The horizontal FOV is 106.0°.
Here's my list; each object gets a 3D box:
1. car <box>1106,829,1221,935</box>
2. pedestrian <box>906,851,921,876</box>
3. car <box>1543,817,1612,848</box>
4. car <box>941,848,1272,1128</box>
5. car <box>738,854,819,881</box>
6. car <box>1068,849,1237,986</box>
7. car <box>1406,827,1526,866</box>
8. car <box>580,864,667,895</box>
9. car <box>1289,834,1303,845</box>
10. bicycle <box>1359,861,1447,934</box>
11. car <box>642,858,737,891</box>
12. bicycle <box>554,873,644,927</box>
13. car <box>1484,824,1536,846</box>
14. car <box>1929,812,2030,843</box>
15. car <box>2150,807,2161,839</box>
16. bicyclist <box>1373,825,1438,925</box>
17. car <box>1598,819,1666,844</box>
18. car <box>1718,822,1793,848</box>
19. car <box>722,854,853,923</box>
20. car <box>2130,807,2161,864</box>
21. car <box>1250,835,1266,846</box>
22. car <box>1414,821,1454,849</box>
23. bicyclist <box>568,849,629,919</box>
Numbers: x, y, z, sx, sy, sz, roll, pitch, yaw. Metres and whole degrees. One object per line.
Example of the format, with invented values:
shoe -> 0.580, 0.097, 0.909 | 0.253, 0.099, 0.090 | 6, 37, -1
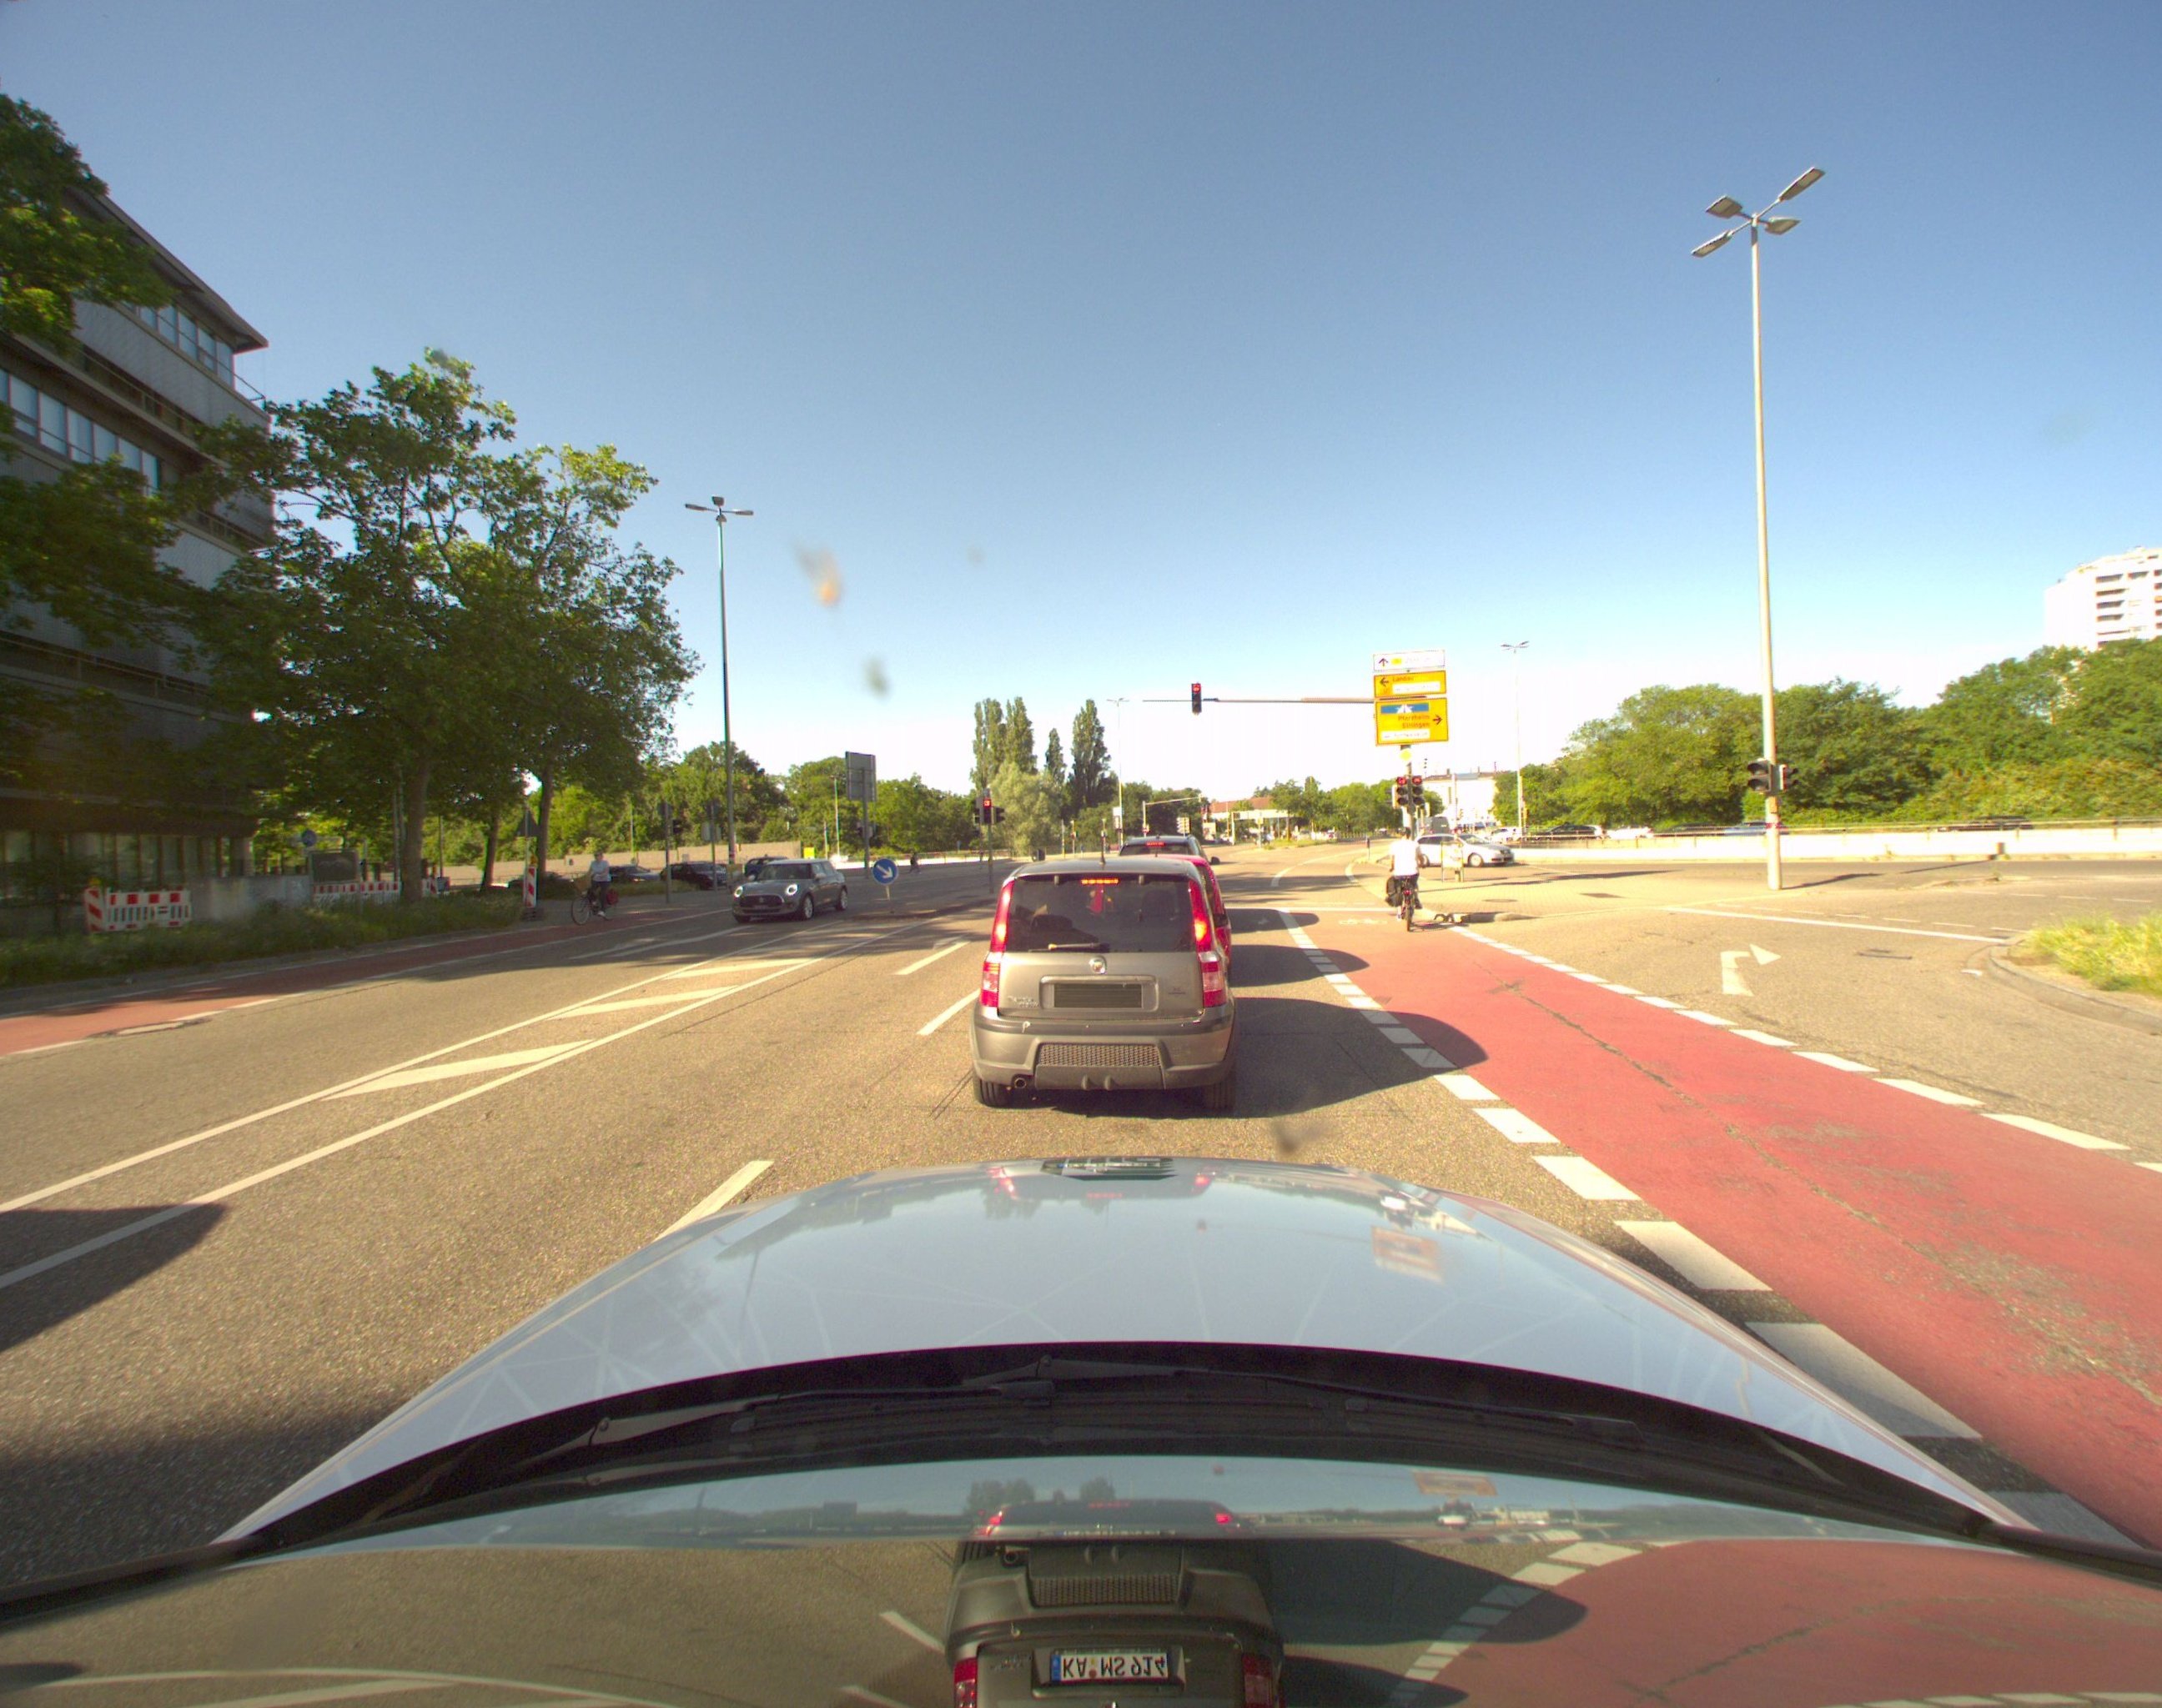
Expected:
car -> 1.778, 0.443, 16.171 | 1.857, 1.790, 4.428 | 0, 1, 11
pedestrian -> -10.856, 0.617, 52.884 | 0.684, 1.539, 1.365 | -1, -5, 0
car -> 36.394, -1.553, 59.729 | 3.948, 2.014, 2.012 | -3, -2, 40
car -> 0.320, 0.706, 6.461 | 1.811, 1.489, 4.006 | 0, 1, 5
car -> -18.861, 0.831, 50.770 | 4.402, 1.438, 1.834 | -2, 0, 16
car -> 0.933, 0.682, 10.807 | 1.811, 1.479, 4.005 | 0, 0, 5
car -> 16.037, -0.326, 34.162 | 1.762, 1.493, 4.306 | -3, 2, -31
car -> -24.955, 1.391, 44.405 | 4.396, 1.438, 1.836 | -2, 1, 24
car -> 43.755, -2.959, 165.740 | 1.995, 1.855, 4.912 | -2, -2, 22
bicycle -> 5.795, 0.724, 14.562 | 0.791, 1.110, 2.417 | 0, 2, 39
car -> -19.637, 1.041, 40.848 | 4.396, 1.438, 1.836 | -2, 1, 24
bicycle -> -12.338, 1.135, 20.950 | 0.683, 1.202, 2.331 | -2, 1, 6
car -> 38.431, -1.664, 73.045 | 1.995, 1.750, 3.982 | -1, -2, -13
car -> 56.952, -1.653, 51.740 | 3.948, 1.662, 2.013 | -2, -2, 38
car -> 64.325, -1.873, 46.064 | 4.205, 1.855, 2.032 | -2, -2, 38
bicyclist -> 5.830, 0.350, 14.606 | 0.791, 1.705, 1.092 | 0, 2, 39
car -> 43.269, -1.732, 64.036 | 2.010, 1.750, 3.954 | 0, -2, -38
car -> 48.374, -1.328, 58.441 | 3.949, 1.684, 1.868 | -3, -2, 43
car -> -7.162, 0.781, 20.311 | 1.679, 1.456, 3.916 | -2, 0, 2
car -> 30.193, -0.579, 20.668 | 3.948, 1.453, 2.013 | -2, 1, 37
car -> 32.822, -2.445, 150.821 | 1.995, 1.855, 4.455 | -2, -2, 24
car -> 37.001, -1.950, 85.510 | 2.245, 2.607, 4.889 | -1, -2, 3
bicyclist -> -12.361, 0.744, 20.891 | 0.683, 1.701, 1.200 | -2, 0, 6
